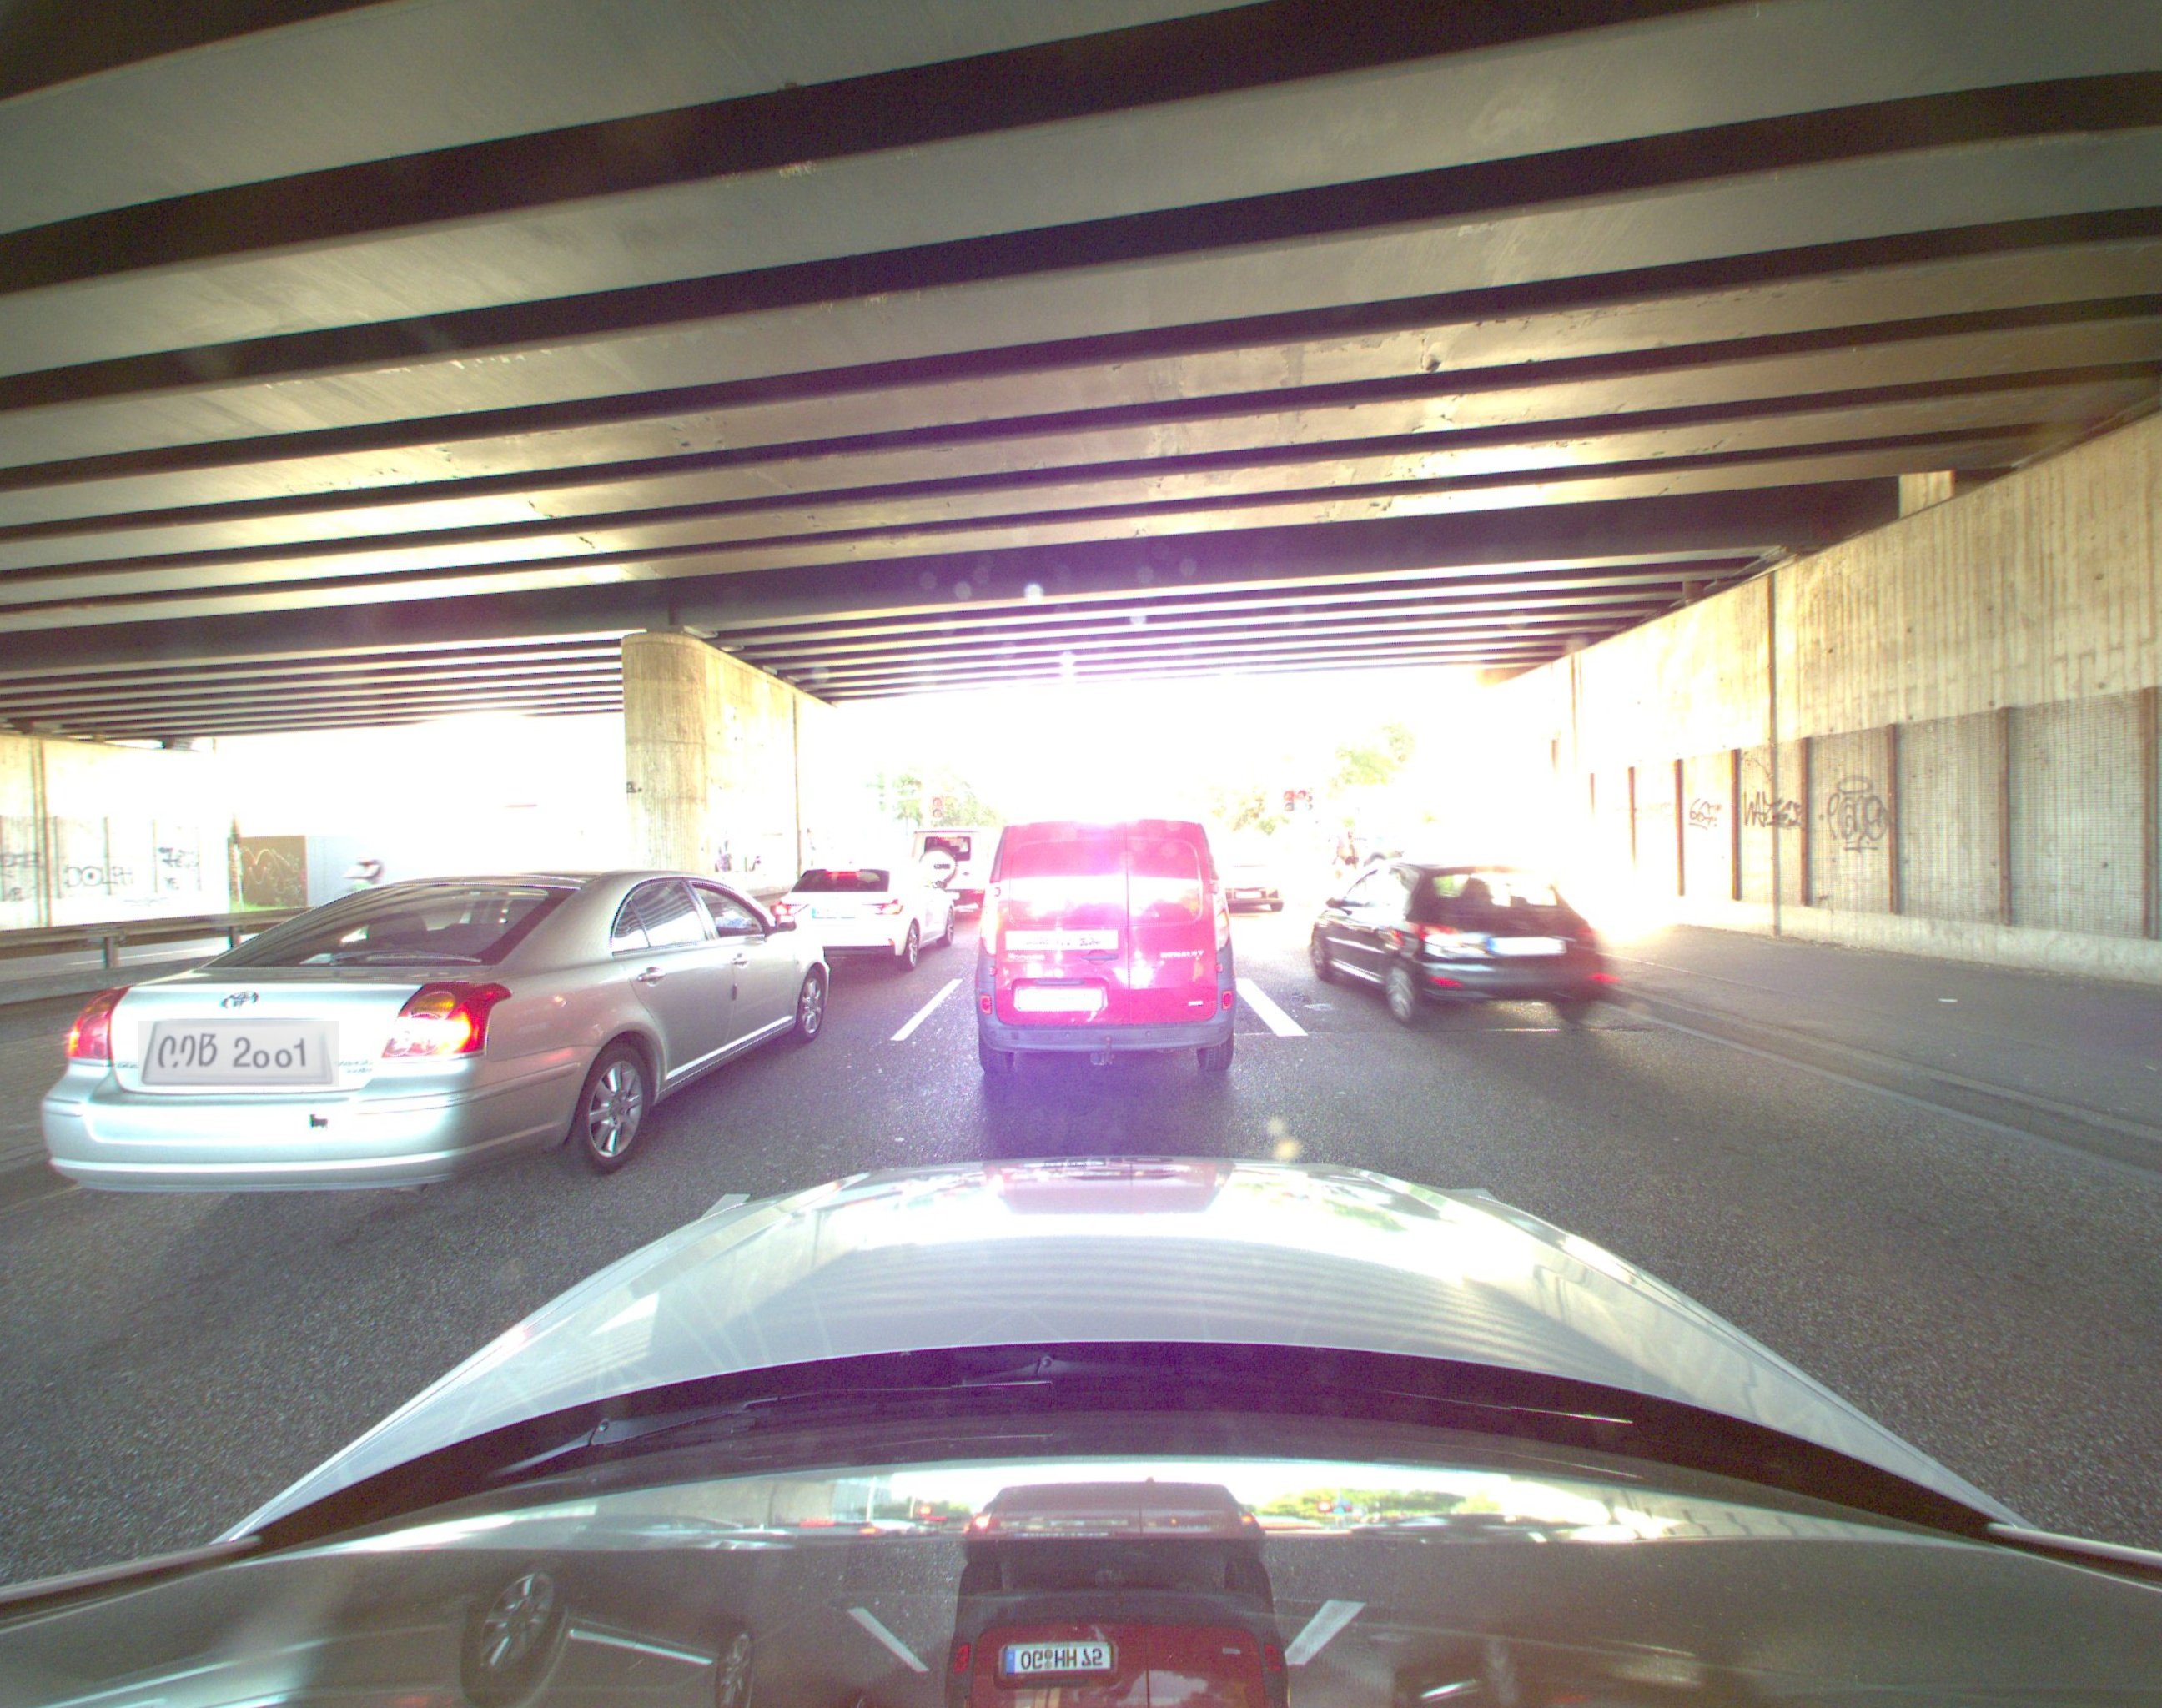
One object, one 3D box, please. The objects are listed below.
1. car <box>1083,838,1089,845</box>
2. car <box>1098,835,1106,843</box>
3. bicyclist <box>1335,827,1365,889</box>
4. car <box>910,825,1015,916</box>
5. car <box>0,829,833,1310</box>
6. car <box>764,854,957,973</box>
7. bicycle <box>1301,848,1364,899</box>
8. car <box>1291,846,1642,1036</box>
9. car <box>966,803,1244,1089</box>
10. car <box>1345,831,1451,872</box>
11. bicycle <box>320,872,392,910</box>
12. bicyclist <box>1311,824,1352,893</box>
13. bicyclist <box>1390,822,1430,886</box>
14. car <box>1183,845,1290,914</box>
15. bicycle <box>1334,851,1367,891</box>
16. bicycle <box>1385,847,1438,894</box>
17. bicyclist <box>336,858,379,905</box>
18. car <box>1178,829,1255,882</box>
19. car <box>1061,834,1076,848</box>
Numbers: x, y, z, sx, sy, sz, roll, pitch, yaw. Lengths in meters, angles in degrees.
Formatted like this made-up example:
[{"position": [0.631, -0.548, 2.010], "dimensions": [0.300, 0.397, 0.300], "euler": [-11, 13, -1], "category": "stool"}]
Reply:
[{"position": [1.588, -3.677, 243.161], "dimensions": [1.741, 2.014, 3.846], "euler": [0, 0, 2], "category": "car"}, {"position": [5.744, -4.043, 220.818], "dimensions": [1.986, 2.014, 4.001], "euler": [0, 0, 2], "category": "car"}, {"position": [7.155, 0.115, 21.691], "dimensions": [0.673, 1.629, 0.646], "euler": [0, -1, 12], "category": "bicyclist"}, {"position": [-2.658, 0.345, 19.037], "dimensions": [1.807, 1.904, 3.814], "euler": [0, 0, 1], "category": "car"}, {"position": [-2.991, 0.653, 4.680], "dimensions": [1.690, 1.455, 4.399], "euler": [0, 0, 1], "category": "car"}, {"position": [-2.932, 0.713, 11.670], "dimensions": [1.687, 1.410, 3.813], "euler": [0, 0, 0], "category": "car"}, {"position": [6.155, 0.450, 20.079], "dimensions": [0.762, 1.146, 2.470], "euler": [-3, 0, 1], "category": "bicycle"}, {"position": [3.483, 0.670, 8.189], "dimensions": [1.740, 1.456, 3.715], "euler": [0, 0, -1], "category": "car"}, {"position": [0.213, 0.568, 7.067], "dimensions": [1.712, 1.764, 4.002], "euler": [0, 0, 2], "category": "car"}, {"position": [14.180, -0.125, 36.505], "dimensions": [4.094, 1.622, 1.805], "euler": [-2, 1, -10], "category": "car"}, {"position": [-23.904, 1.203, 26.898], "dimensions": [0.631, 1.165, 1.878], "euler": [0, 0, 2], "category": "bicycle"}, {"position": [6.124, 0.105, 19.967], "dimensions": [0.744, 1.655, 0.886], "euler": [0, -1, 1], "category": "bicyclist"}, {"position": [8.303, 0.002, 20.546], "dimensions": [0.667, 1.561, 0.735], "euler": [-2, -1, 0], "category": "bicyclist"}, {"position": [3.639, 0.541, 19.863], "dimensions": [1.740, 1.456, 4.664], "euler": [0, 0, 0], "category": "car"}, {"position": [7.174, 0.435, 21.739], "dimensions": [0.672, 1.024, 1.534], "euler": [0, 0, 12], "category": "bicycle"}, {"position": [8.313, 0.409, 20.529], "dimensions": [0.678, 1.113, 1.604], "euler": [-2, 0, 1], "category": "bicycle"}, {"position": [-23.901, 0.906, 26.917], "dimensions": [0.625, 1.525, 0.837], "euler": [0, -1, 1], "category": "bicyclist"}, {"position": [5.227, 0.013, 30.900], "dimensions": [1.797, 1.833, 4.325], "euler": [0, 1, 25], "category": "car"}, {"position": [-1.845, -1.864, 121.151], "dimensions": [1.986, 2.014, 4.001], "euler": [0, 0, 2], "category": "car"}]
